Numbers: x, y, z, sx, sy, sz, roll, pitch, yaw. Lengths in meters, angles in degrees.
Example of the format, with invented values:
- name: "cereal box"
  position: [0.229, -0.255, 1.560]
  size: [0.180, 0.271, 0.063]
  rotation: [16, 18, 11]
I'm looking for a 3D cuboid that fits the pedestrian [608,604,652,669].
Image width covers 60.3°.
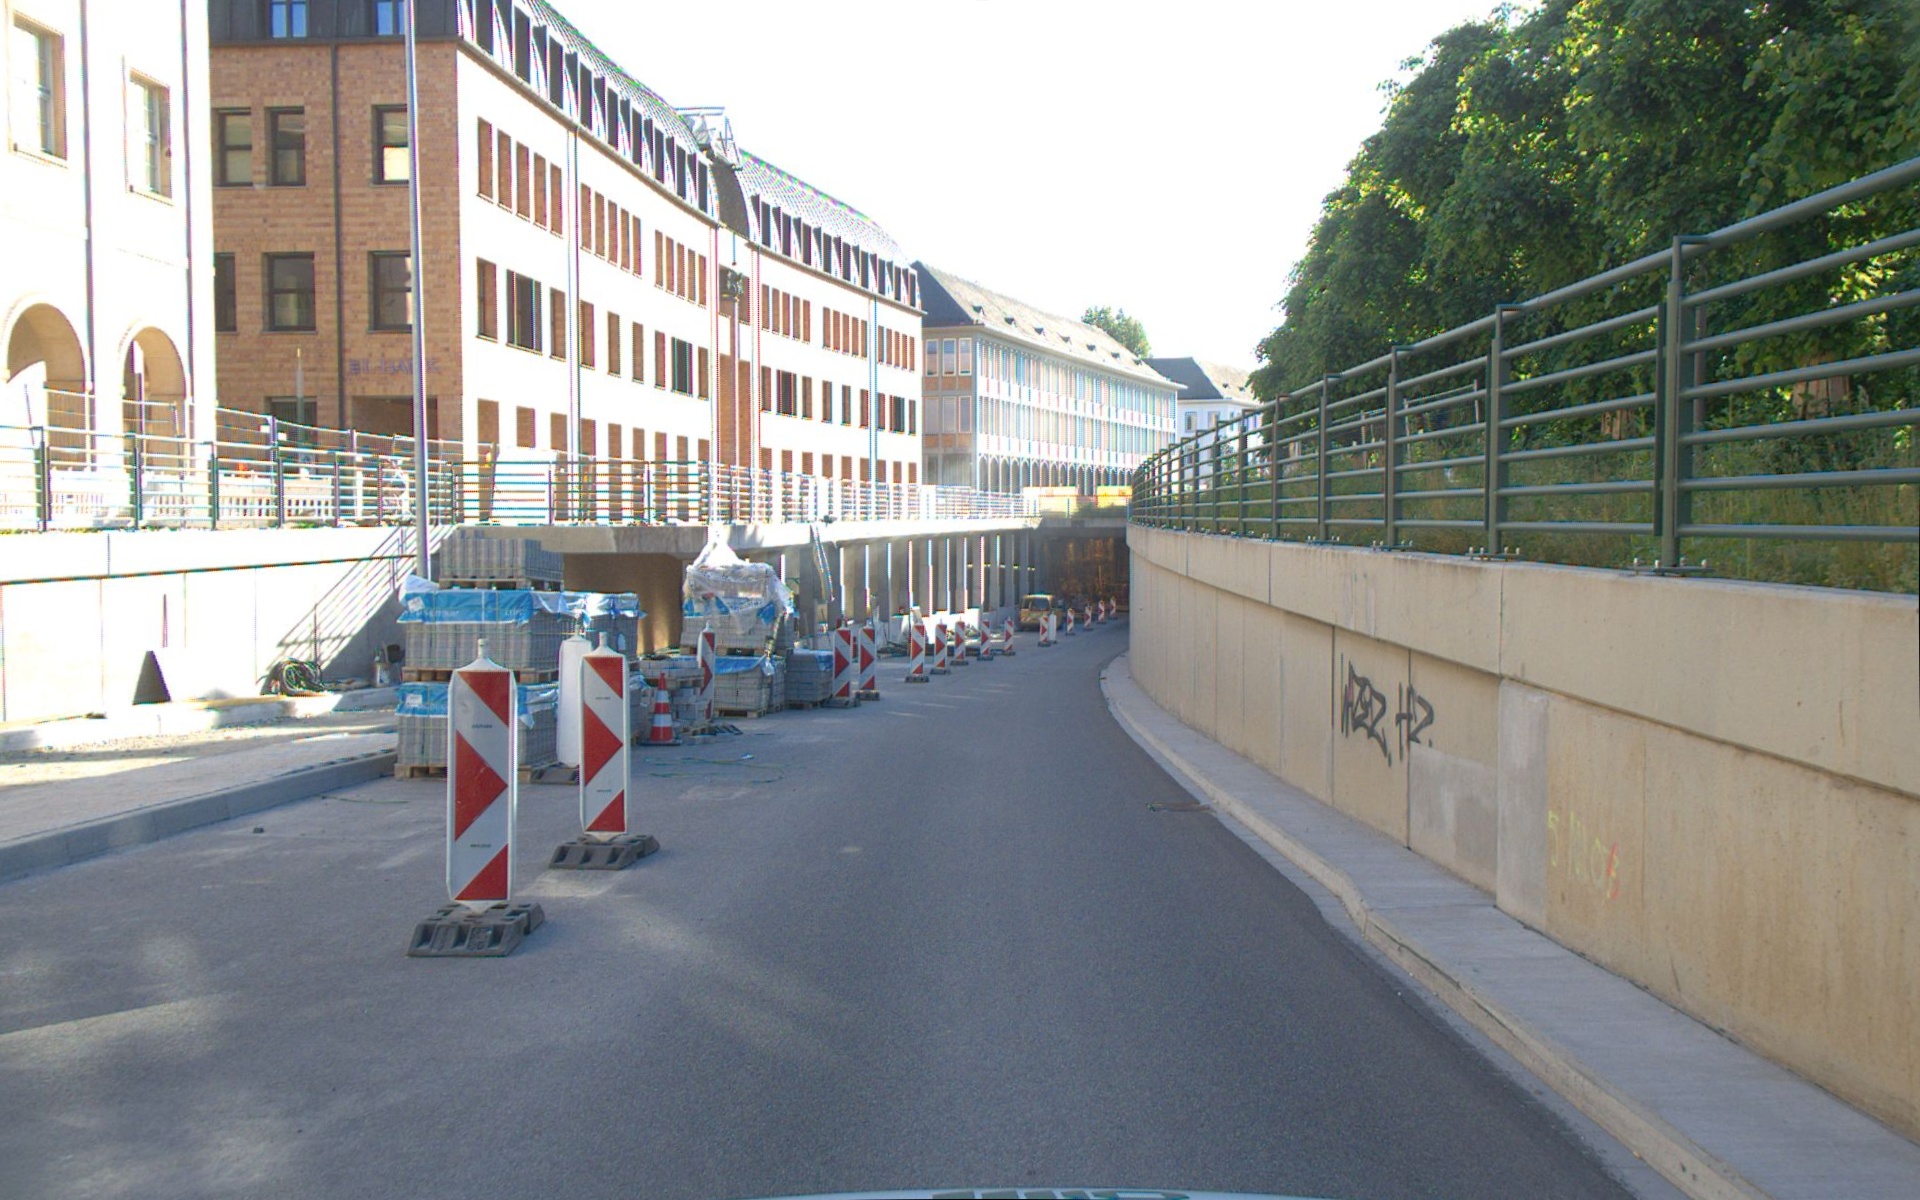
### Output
- name: "pedestrian"
  position: [-7.350, 0.811, 36.878]
  size: [0.854, 1.423, 0.783]
  rotation: [0, -1, -3]

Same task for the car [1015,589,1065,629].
- name: "car"
  position: [4.009, 0.427, 82.422]
  size: [1.808, 1.806, 4.439]
  rotation: [1, 2, 12]

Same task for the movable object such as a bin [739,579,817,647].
- name: "movable object such as a bin"
  position: [-5.622, 0.374, 51.435]
  size: [1.846, 2.022, 3.160]
  rotation: [1, 0, 4]
